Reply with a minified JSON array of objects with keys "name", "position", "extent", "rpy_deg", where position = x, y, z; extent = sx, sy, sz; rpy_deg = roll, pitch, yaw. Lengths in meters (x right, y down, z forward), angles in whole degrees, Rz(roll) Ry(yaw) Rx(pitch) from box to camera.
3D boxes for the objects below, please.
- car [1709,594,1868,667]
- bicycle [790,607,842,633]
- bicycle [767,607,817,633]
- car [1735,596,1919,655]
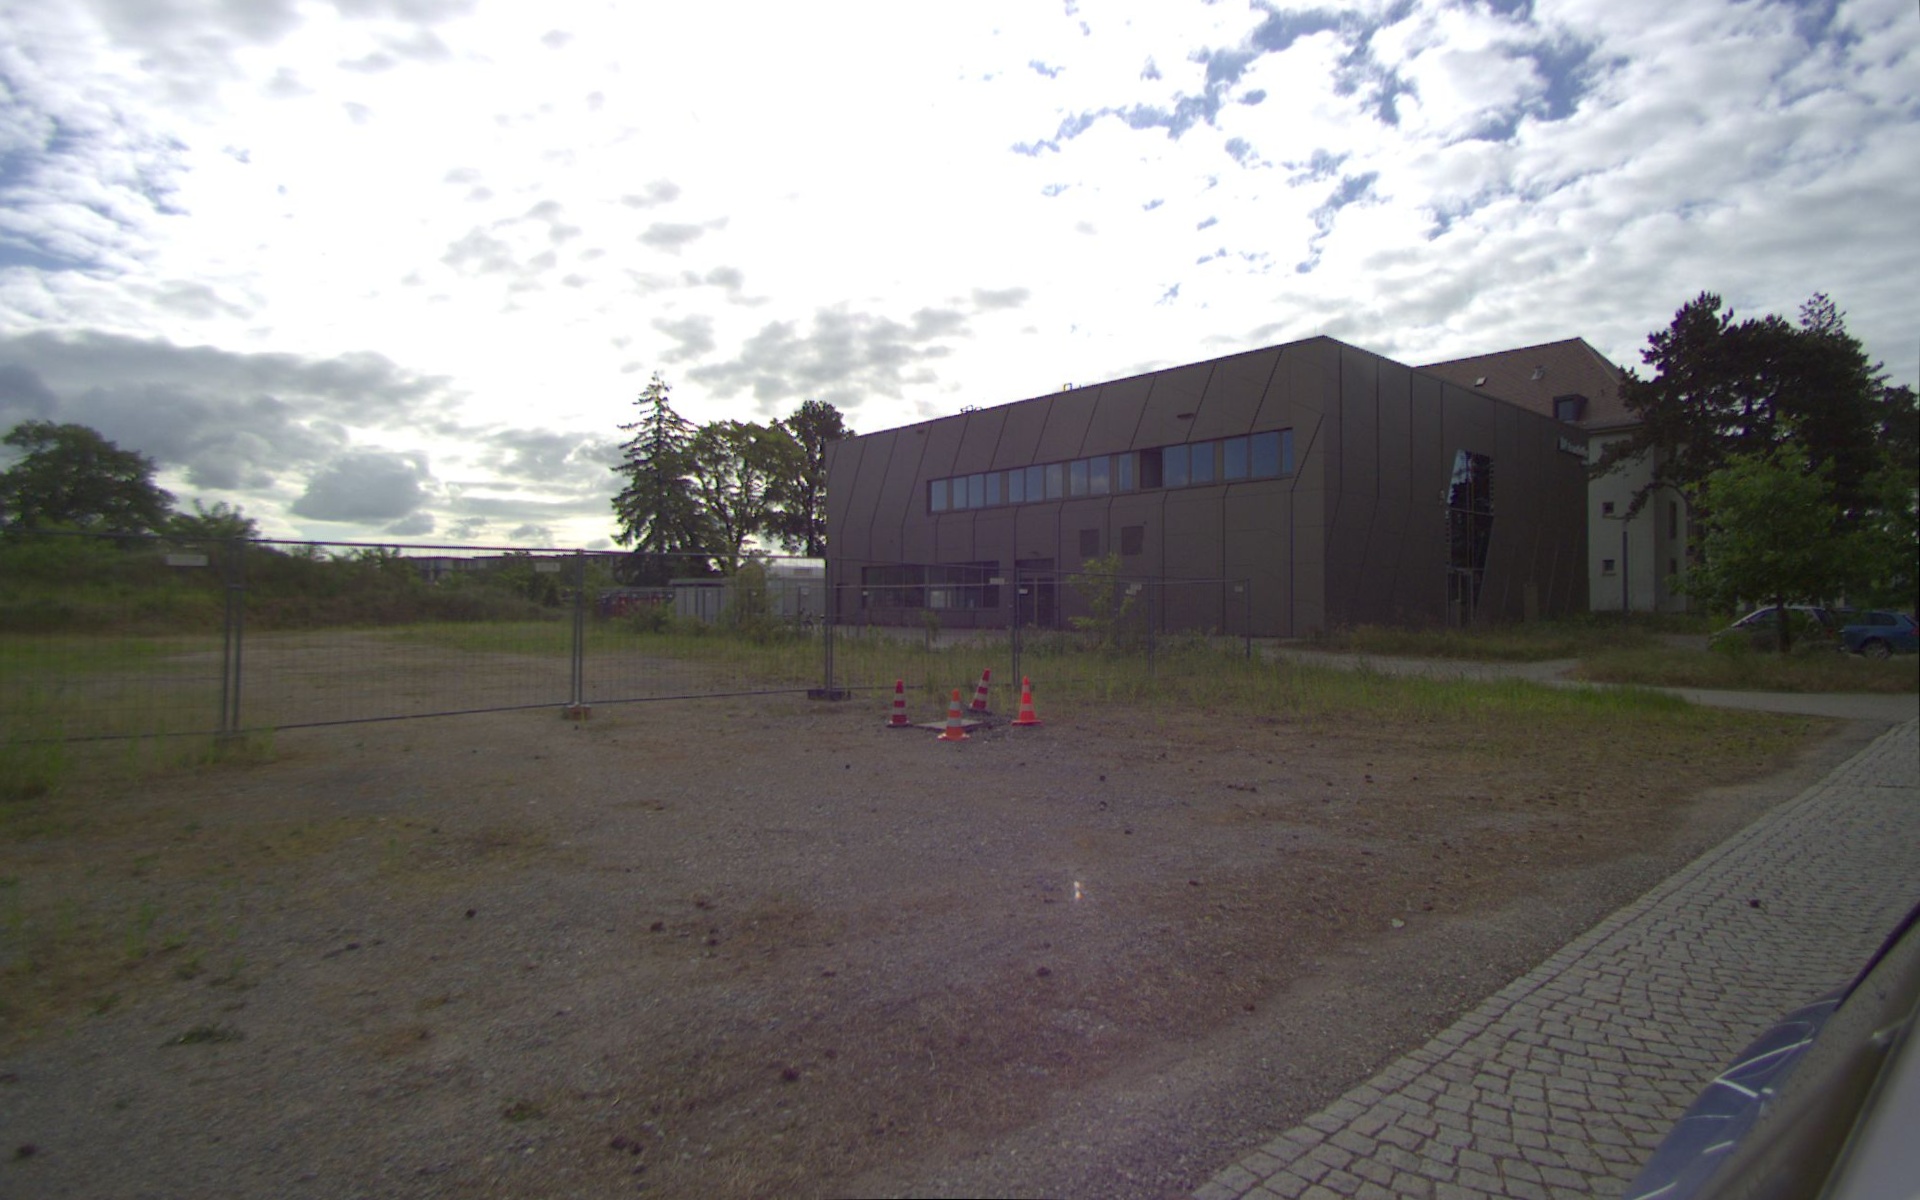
[{"name":"car","position":[20.294,0.701,24.834],"extent":[1.653,1.602,2.746],"rpy_deg":[0,2,-41]},{"name":"bicycle","position":[-5.928,0.819,41.745],"extent":[1.953,1.038,0.835],"rpy_deg":[-1,0,-39]},{"name":"bicycle","position":[-7.195,0.840,43.446],"extent":[1.953,1.038,0.835],"rpy_deg":[-1,0,-39]},{"name":"car","position":[25.719,0.709,29.639],"extent":[1.899,1.468,4.531],"rpy_deg":[0,2,-43]}]
